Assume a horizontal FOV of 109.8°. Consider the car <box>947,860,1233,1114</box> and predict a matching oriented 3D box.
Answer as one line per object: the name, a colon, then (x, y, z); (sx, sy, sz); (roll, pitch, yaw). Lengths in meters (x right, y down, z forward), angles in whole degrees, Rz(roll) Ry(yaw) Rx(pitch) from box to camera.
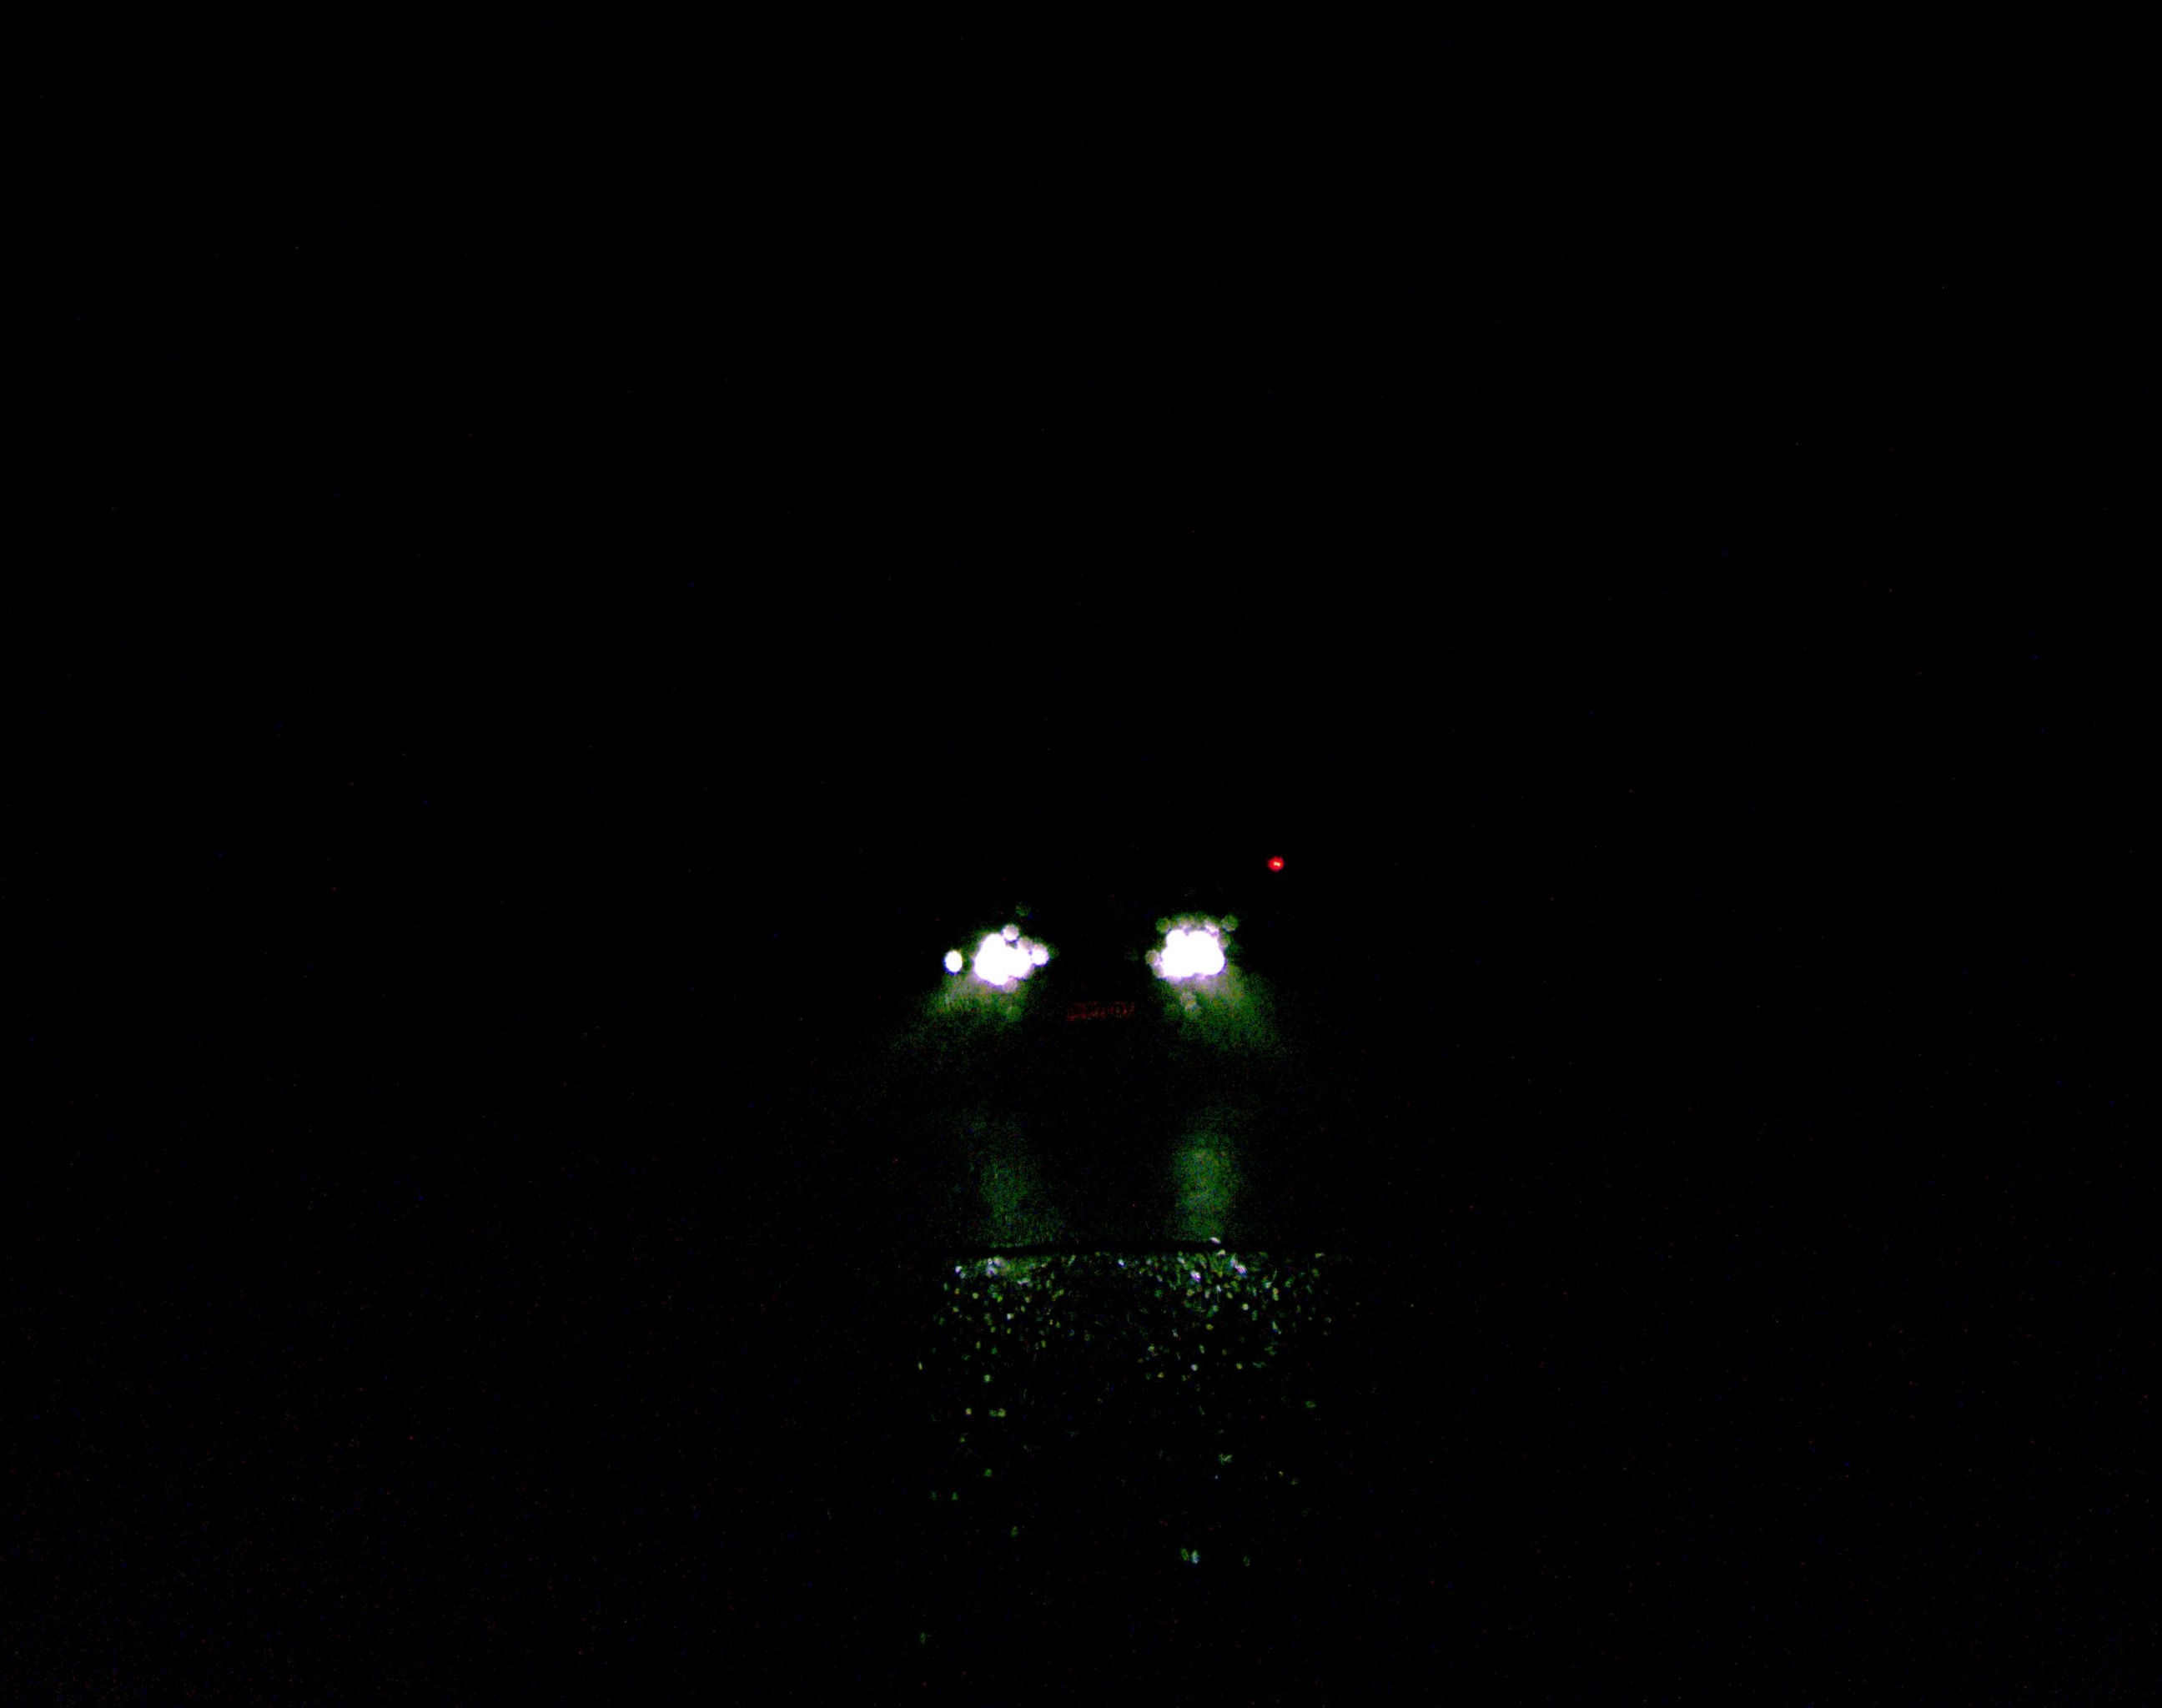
car: (0.153, 0.909, 7.055); (1.845, 1.565, 4.000); (-2, 1, 3)
